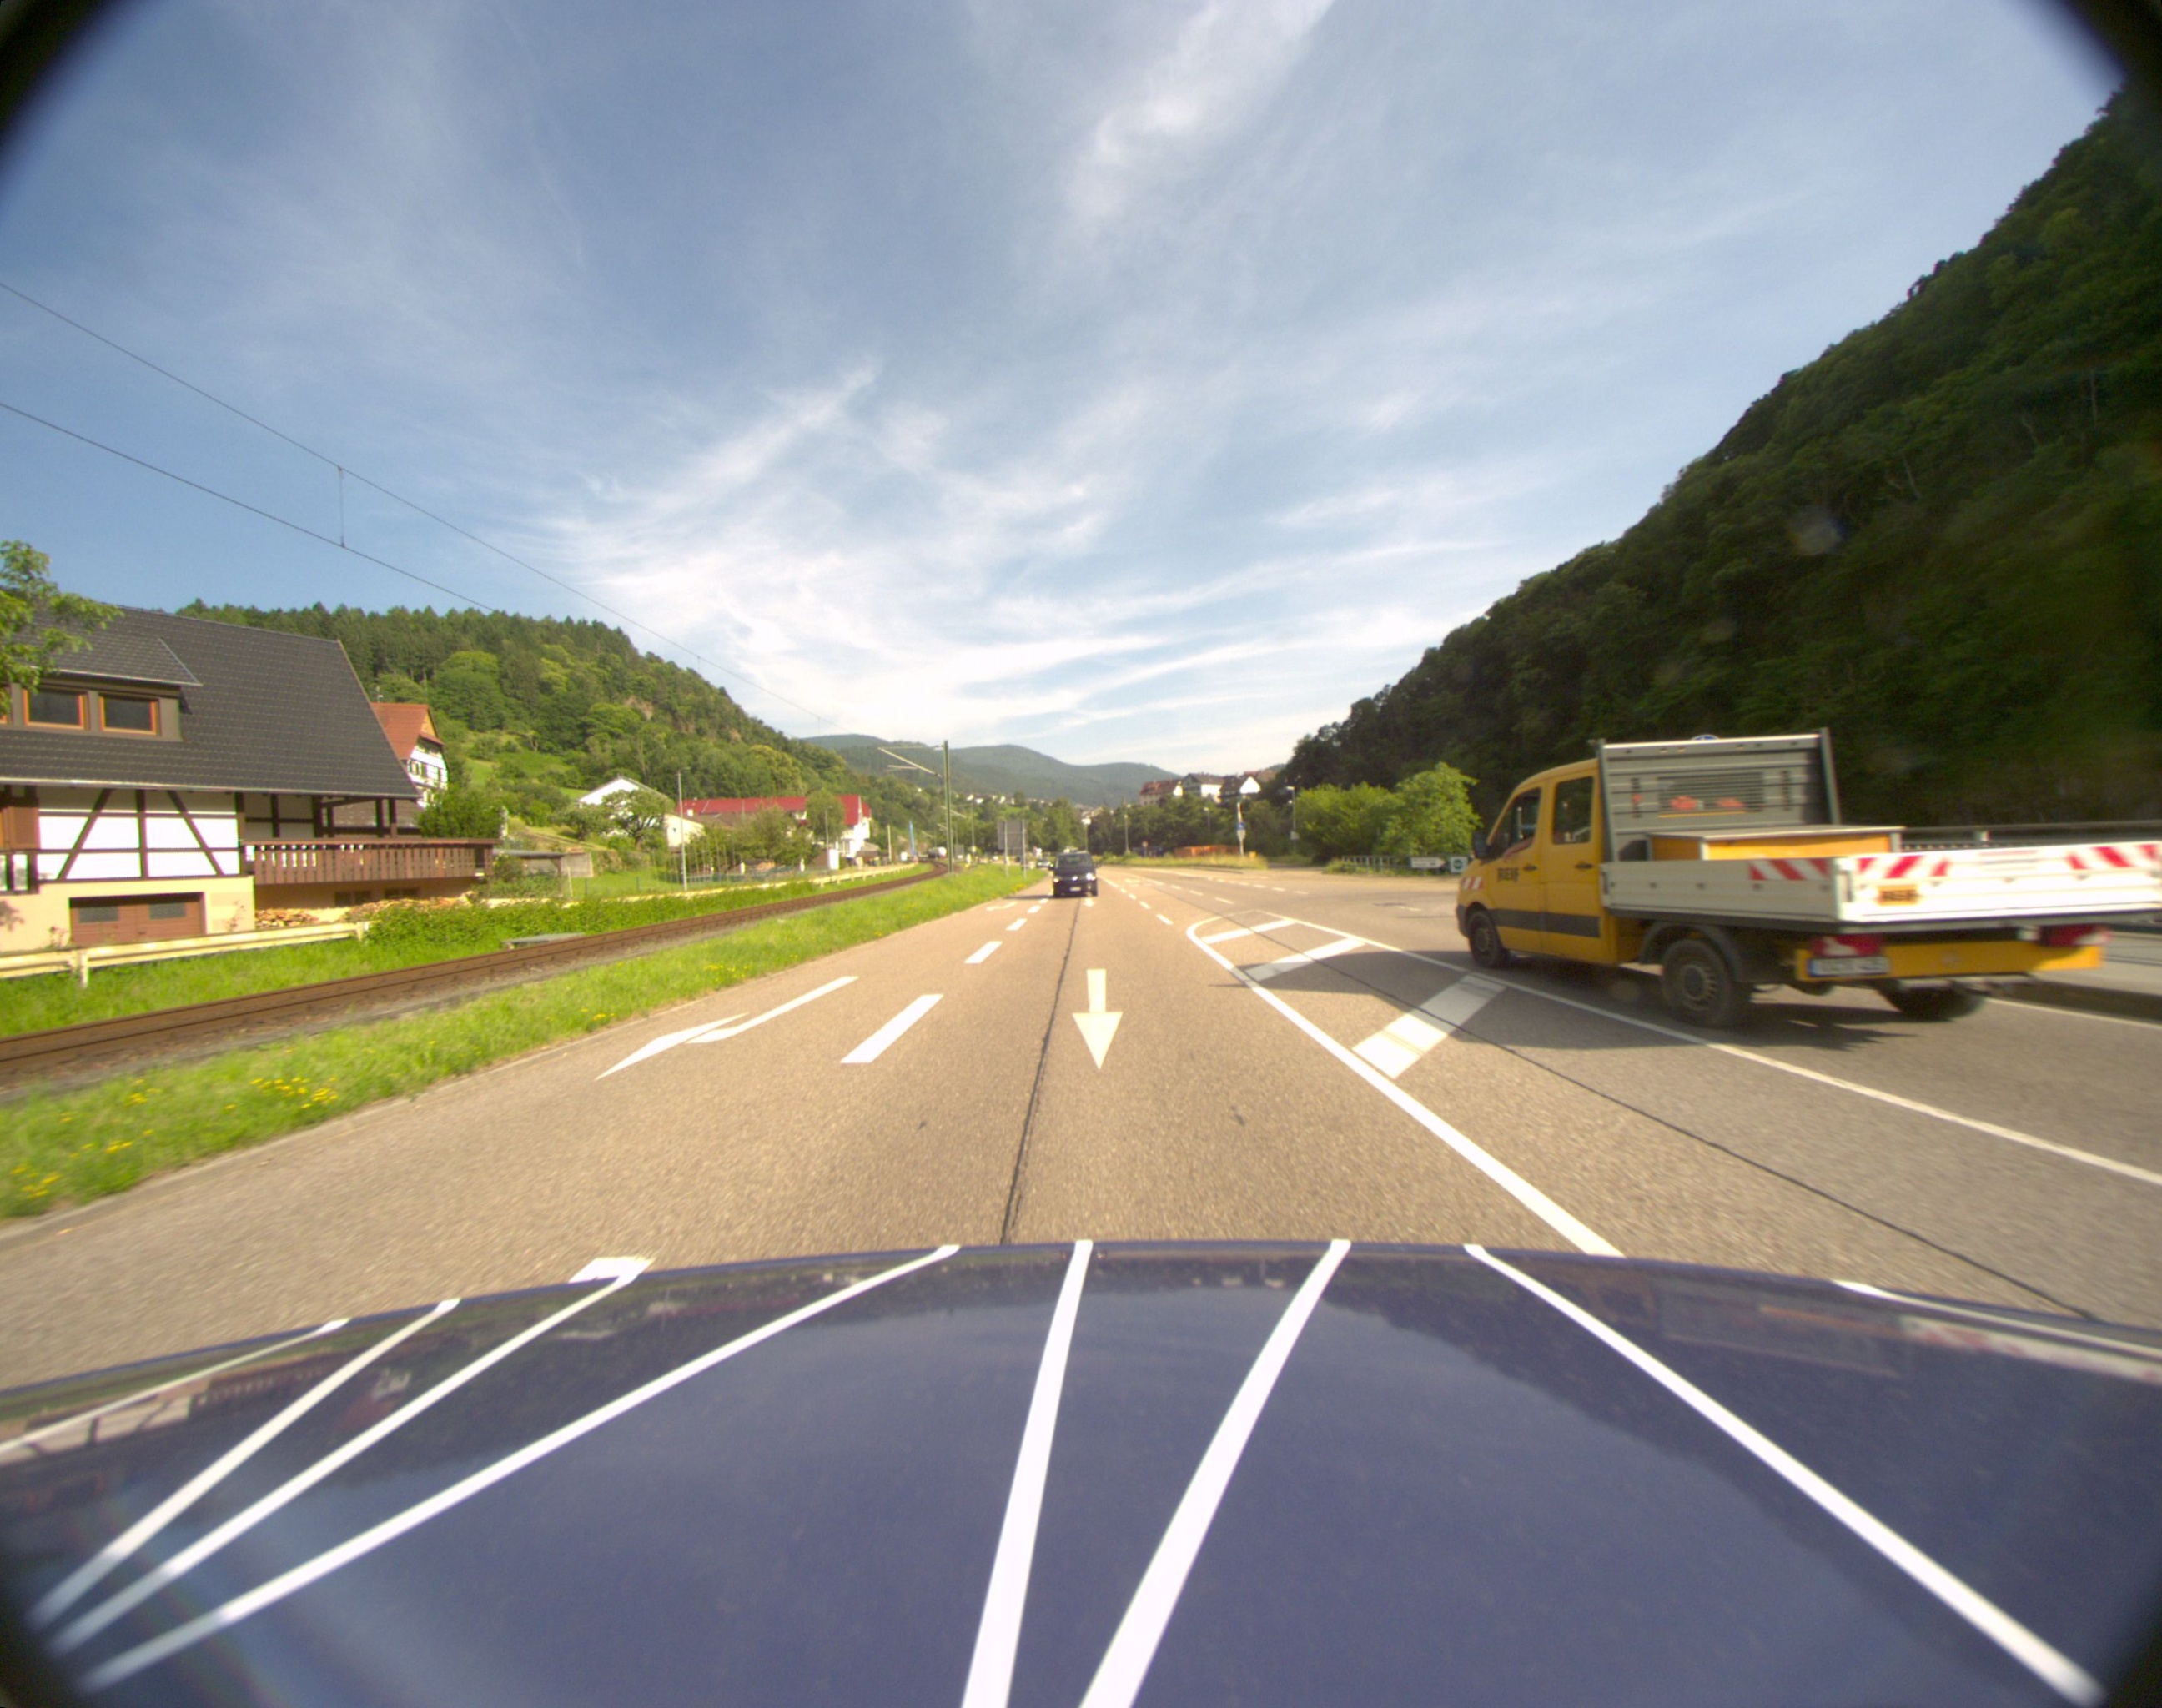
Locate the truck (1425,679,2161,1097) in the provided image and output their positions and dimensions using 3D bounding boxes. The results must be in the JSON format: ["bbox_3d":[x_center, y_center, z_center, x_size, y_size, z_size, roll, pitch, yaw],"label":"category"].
[{"bbox_3d":[5.779,0.175,7.384,2.169,2.373,5.854,-3,0,0],"label":"truck"}]

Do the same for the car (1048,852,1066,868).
[{"bbox_3d":[-3.210,0.788,100.991,2.000,2.002,3.997,-2,0,-8],"label":"car"}]

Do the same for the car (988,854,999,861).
[{"bbox_3d":[-23.659,0.970,205.490,1.871,1.652,3.993,-3,0,-20],"label":"car"}]

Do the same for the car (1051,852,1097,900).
[{"bbox_3d":[-0.279,0.899,33.874,1.865,1.936,4.638,-1,0,0],"label":"car"}]

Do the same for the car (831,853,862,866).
[{"bbox_3d":[-34.747,0.759,112.632,3.998,1.761,1.830,-3,1,-5],"label":"car"}]

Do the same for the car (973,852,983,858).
[{"bbox_3d":[-30.708,0.343,225.797,2.002,1.652,3.993,-3,0,-21],"label":"car"}]

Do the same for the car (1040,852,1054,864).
[{"bbox_3d":[-5.432,0.632,122.144,1.729,1.815,3.850,-3,0,-10],"label":"car"}]

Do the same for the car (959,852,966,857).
[{"bbox_3d":[-38.349,0.191,246.227,1.726,1.652,3.994,-3,0,-18],"label":"car"}]

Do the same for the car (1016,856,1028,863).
[{"bbox_3d":[-13.586,1.248,174.160,2.001,1.652,3.995,-3,0,-16],"label":"car"}]
